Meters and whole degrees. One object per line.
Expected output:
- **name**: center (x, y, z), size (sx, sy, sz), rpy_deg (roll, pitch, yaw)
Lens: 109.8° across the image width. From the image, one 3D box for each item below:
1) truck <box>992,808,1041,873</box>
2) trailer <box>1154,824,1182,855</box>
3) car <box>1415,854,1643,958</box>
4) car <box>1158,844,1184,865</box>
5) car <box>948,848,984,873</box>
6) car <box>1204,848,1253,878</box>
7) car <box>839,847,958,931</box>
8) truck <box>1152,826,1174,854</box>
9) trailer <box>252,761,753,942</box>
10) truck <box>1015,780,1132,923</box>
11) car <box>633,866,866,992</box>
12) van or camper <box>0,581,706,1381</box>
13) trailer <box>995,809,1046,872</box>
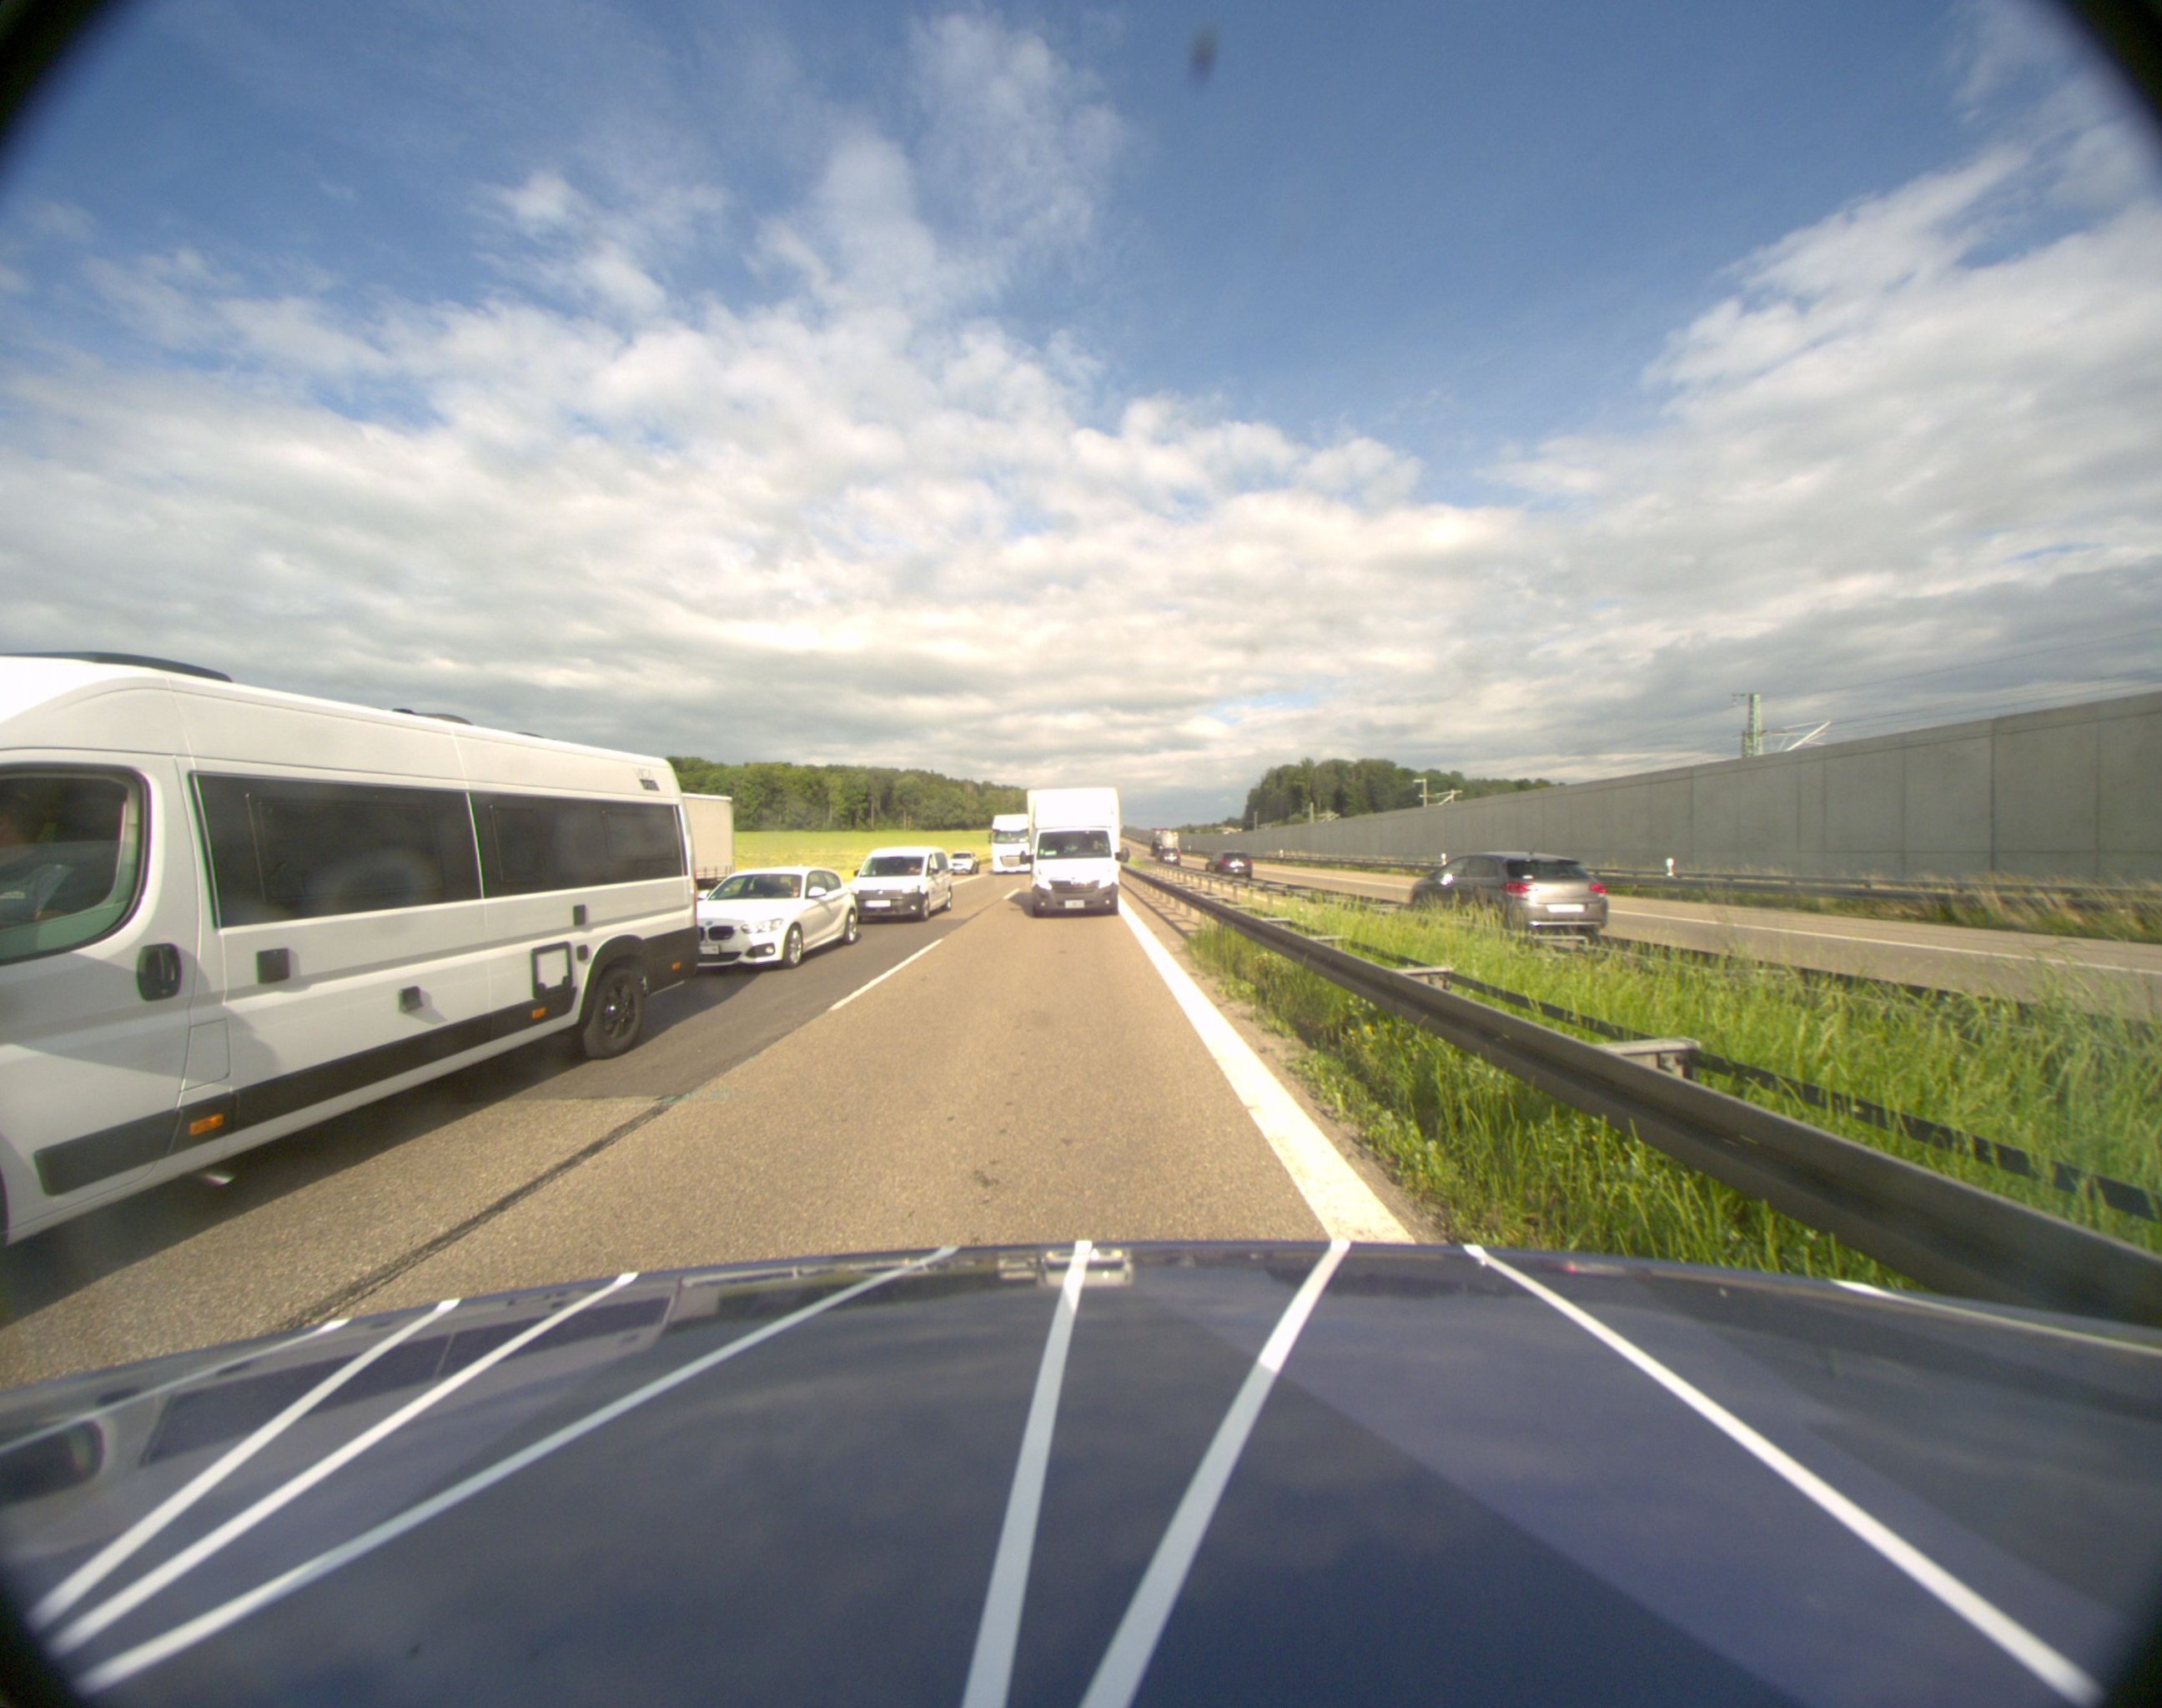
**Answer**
- **truck**: center (-4.374, -0.942, 52.319), size (2.736, 4.150, 5.765), rpy_deg (-2, 2, 0)
- **trailer**: center (11.592, -1.874, 102.222), size (2.595, 3.879, 10.862), rpy_deg (0, 1, 0)
- **car**: center (7.568, 0.781, 13.312), size (1.773, 1.471, 3.828), rpy_deg (-1, 1, 1)
- **car**: center (7.770, -0.015, 65.755), size (1.785, 1.727, 4.101), rpy_deg (-1, 1, 0)
- **car**: center (-7.909, 0.442, 52.632), size (1.808, 1.583, 4.675), rpy_deg (-1, 1, 0)
- **car**: center (7.886, 0.440, 40.965), size (1.702, 1.490, 4.426), rpy_deg (-1, 1, 0)
- **car**: center (-4.384, 0.753, 18.986), size (1.729, 1.746, 4.702), rpy_deg (-2, 1, 0)
- **truck**: center (11.587, -1.948, 107.852), size (2.589, 3.900, 5.721), rpy_deg (0, 1, 0)
- **trailer**: center (-16.473, -0.128, 24.381), size (2.739, 4.136, 13.842), rpy_deg (-2, 0, 15)
- **truck**: center (-0.198, -0.109, 22.954), size (2.500, 3.082, 12.036), rpy_deg (-2, 1, 0)
- **car**: center (-4.826, 0.992, 11.800), size (1.708, 1.424, 4.231), rpy_deg (-2, 1, 0)
- **van or camper**: center (-4.718, 0.421, 4.043), size (2.221, 2.665, 6.331), rpy_deg (-1, 1, 0)
- **trailer**: center (-4.403, -1.078, 58.475), size (2.742, 4.137, 14.014), rpy_deg (-2, 1, 0)
